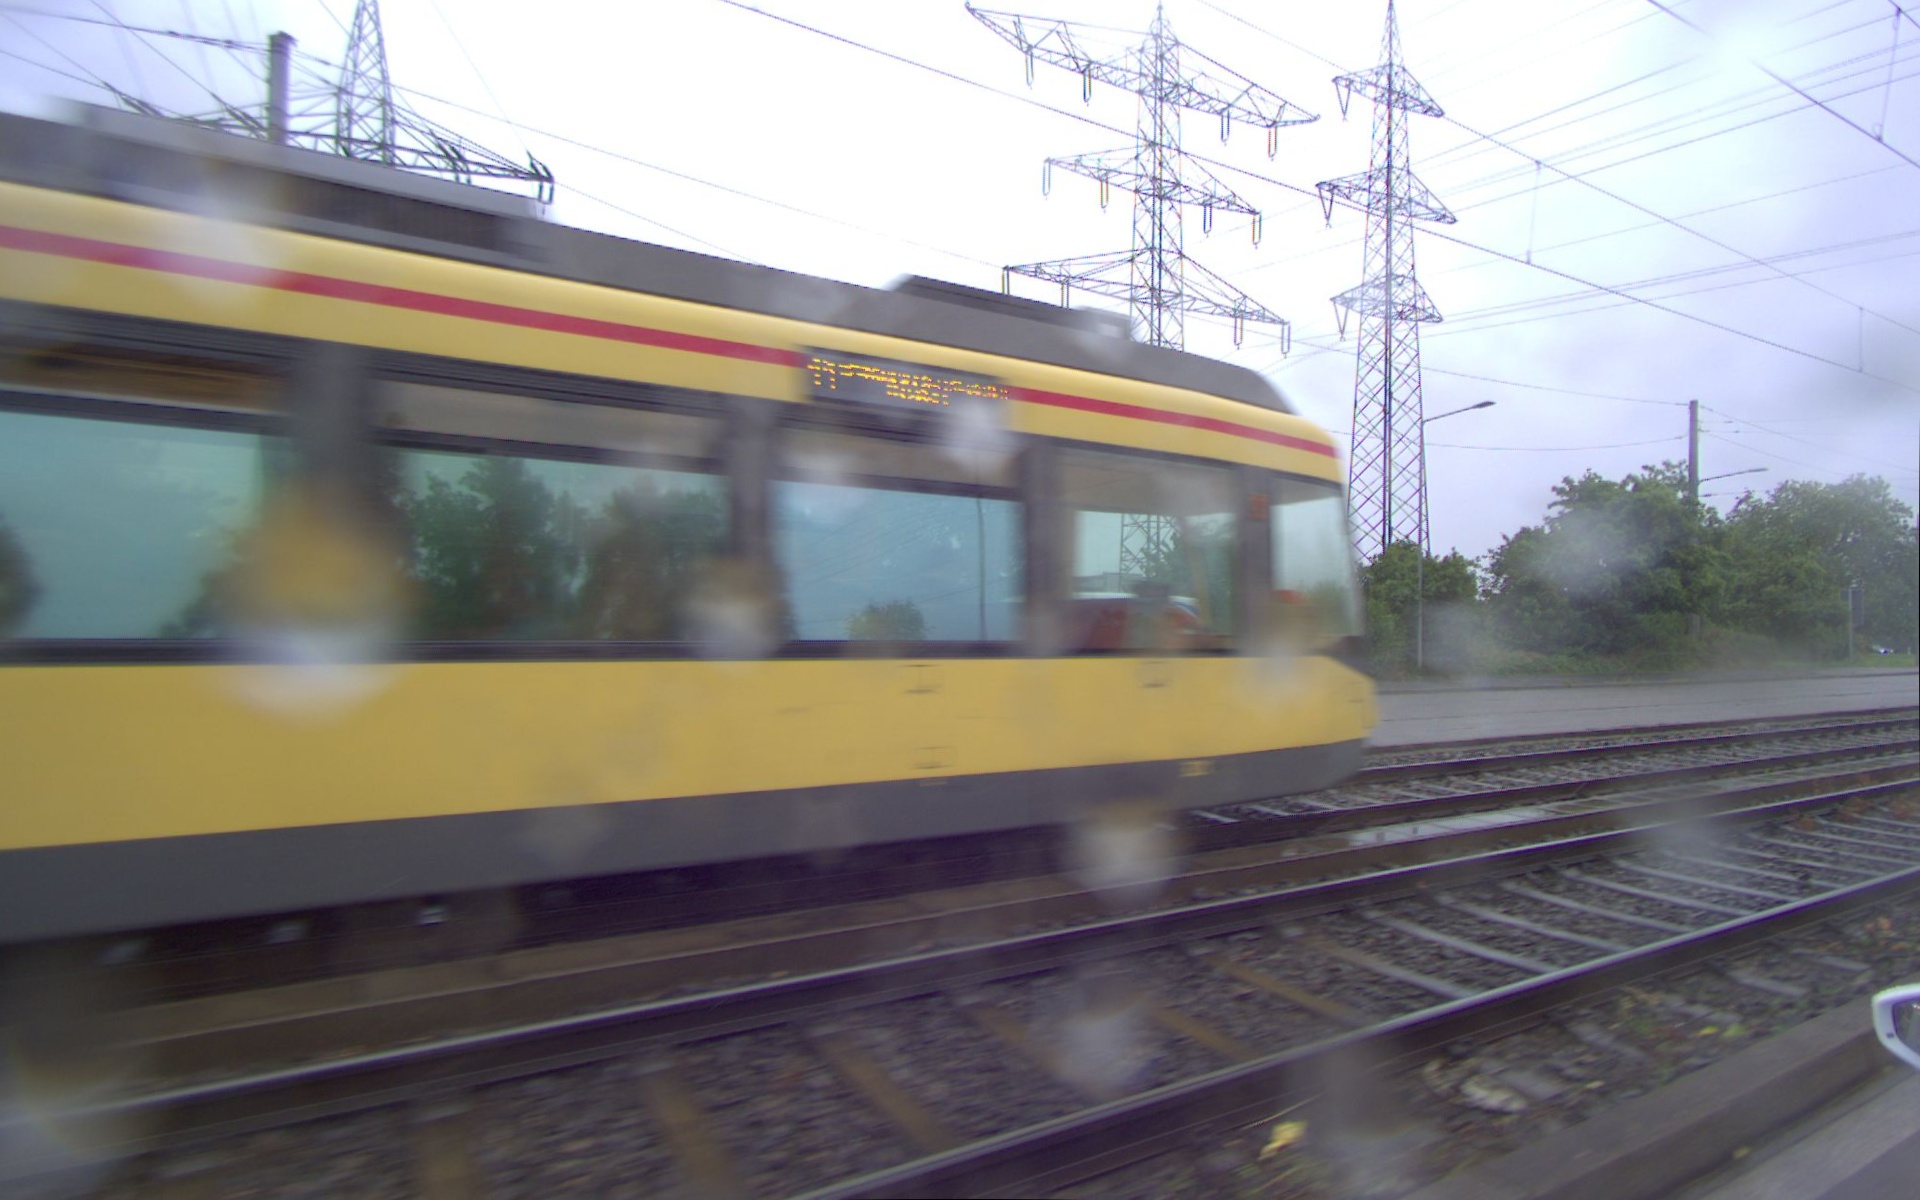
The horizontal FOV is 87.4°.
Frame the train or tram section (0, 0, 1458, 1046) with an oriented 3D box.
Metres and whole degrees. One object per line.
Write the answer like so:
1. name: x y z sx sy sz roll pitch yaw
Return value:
1. train or tram section: -5.247 -0.390 3.854 19.303 3.755 2.871 1 0 -31
